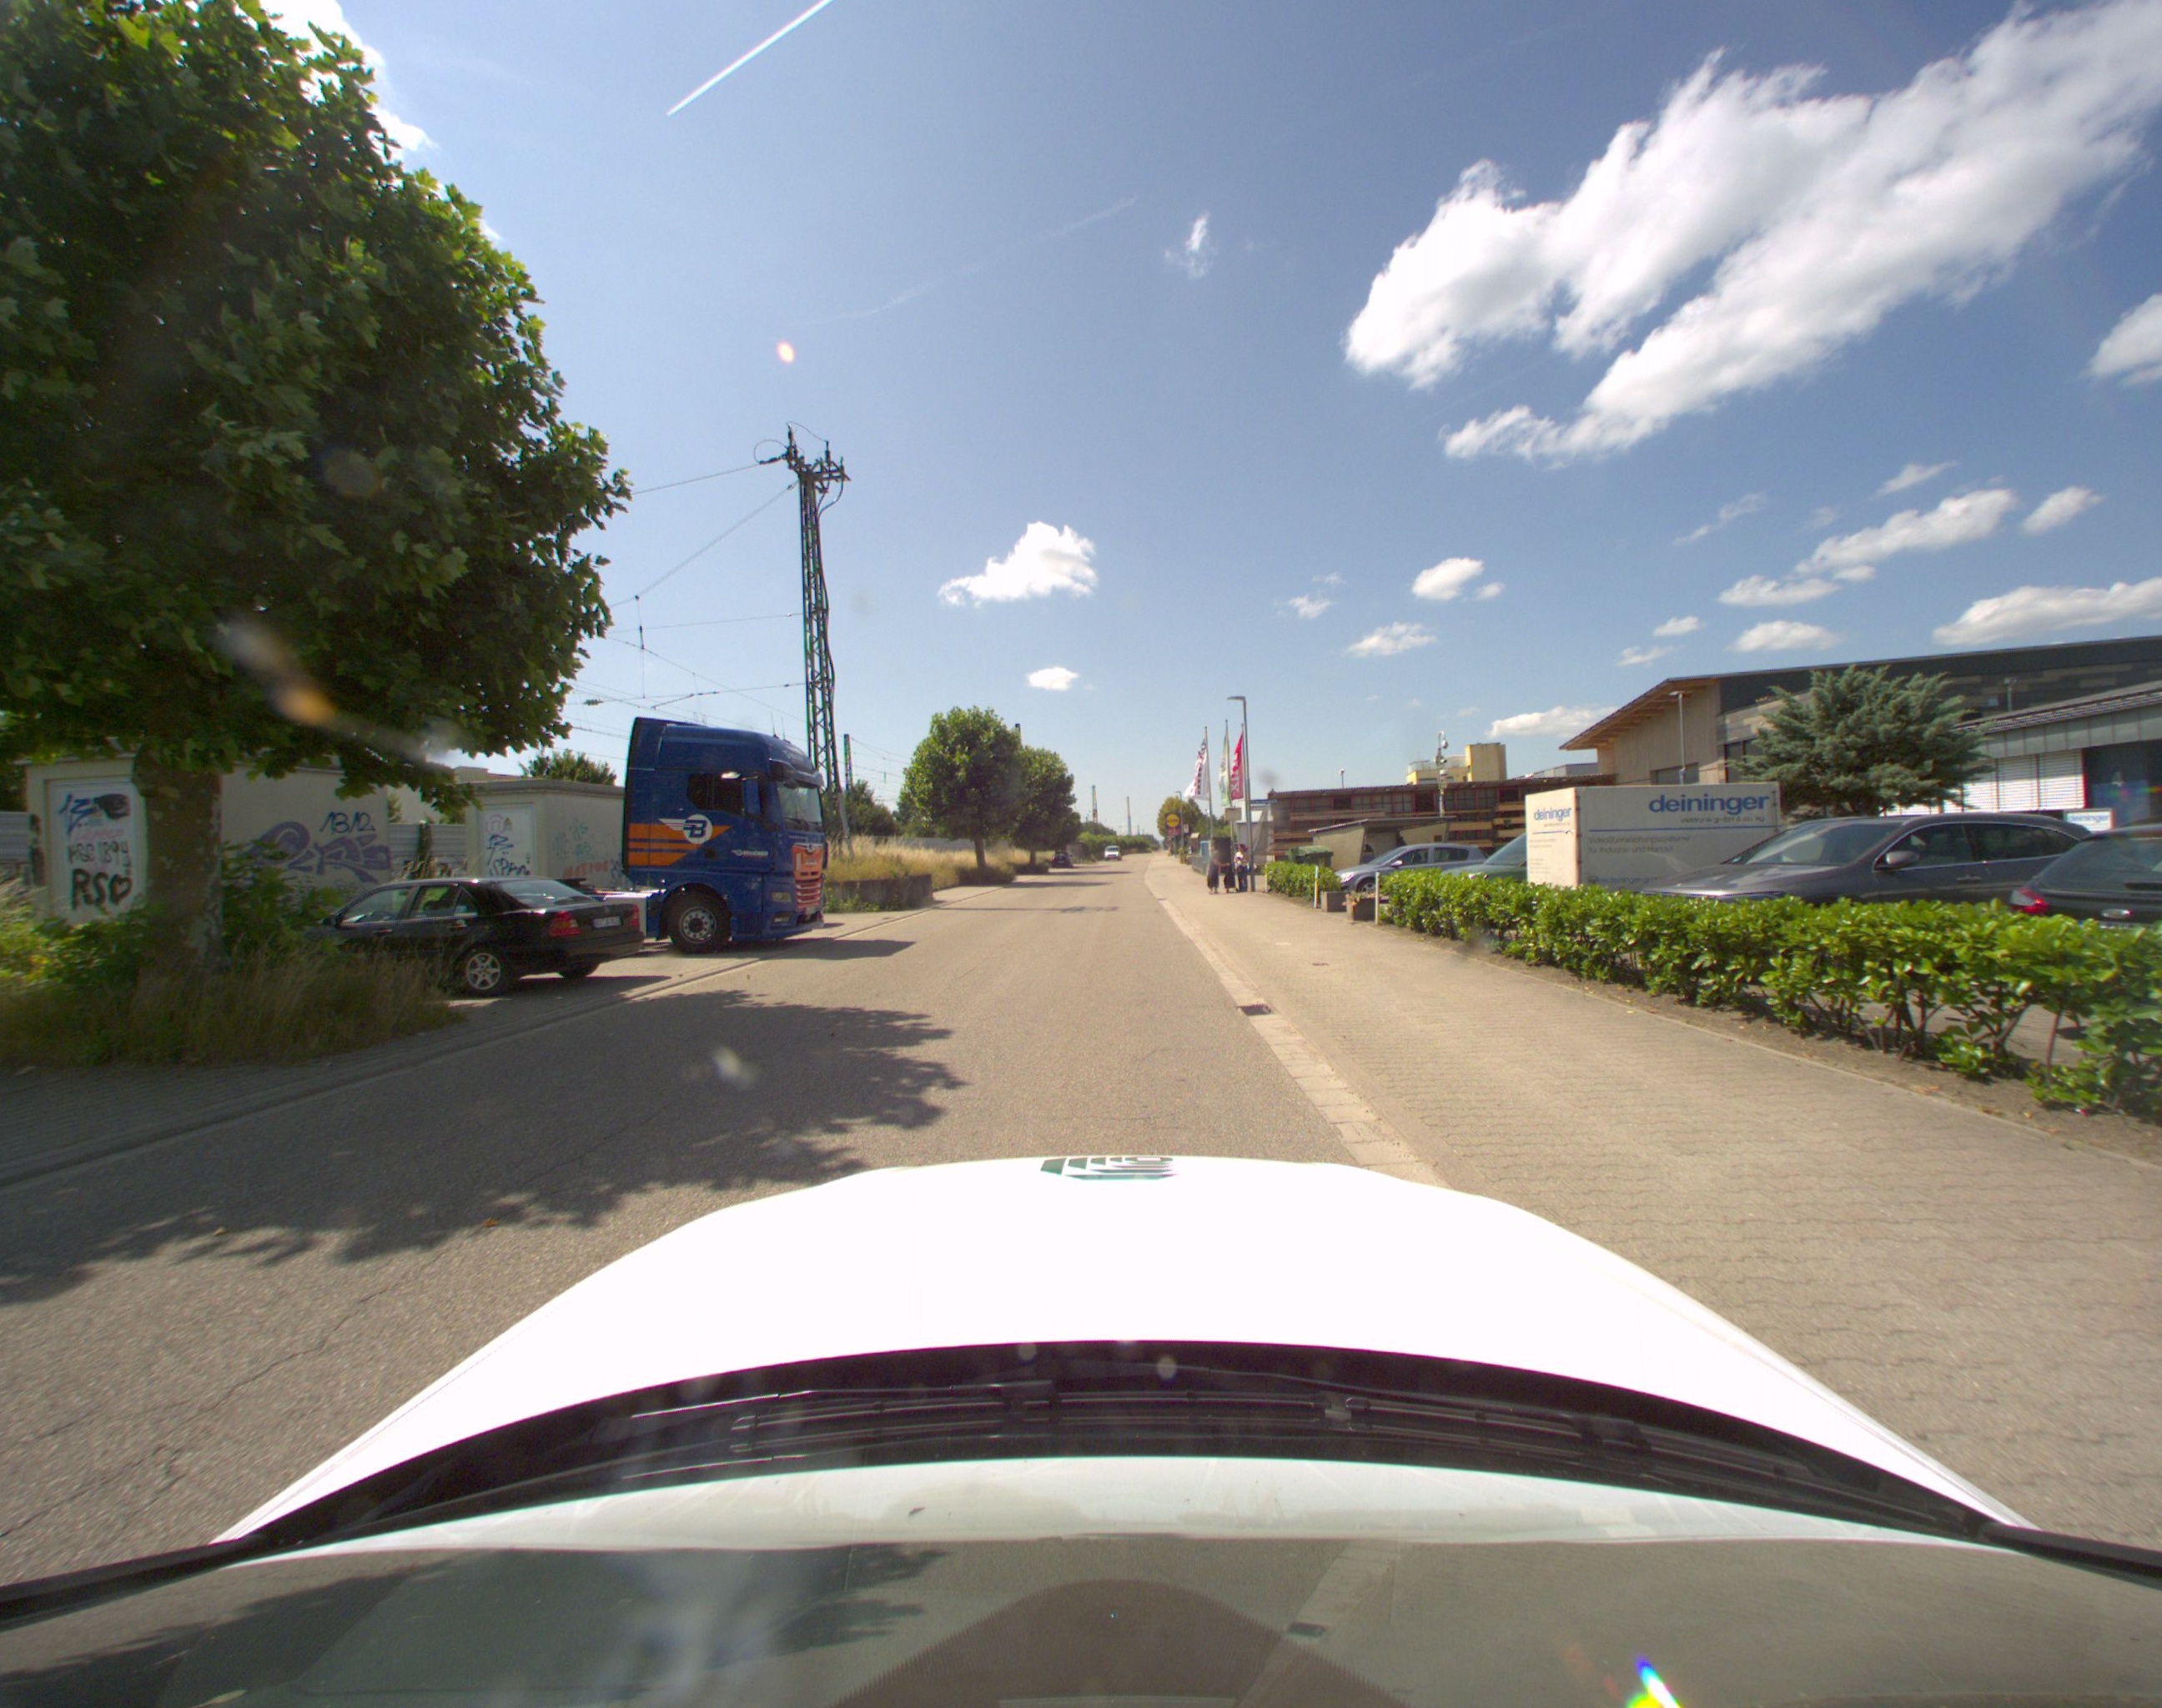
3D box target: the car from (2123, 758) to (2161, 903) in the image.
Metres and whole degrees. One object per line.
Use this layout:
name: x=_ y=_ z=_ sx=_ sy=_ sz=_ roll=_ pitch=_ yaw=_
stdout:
car: x=16.269 y=-0.415 z=9.787 sx=2.085 sy=2.125 sz=4.736 roll=-5 pitch=-1 yaw=15

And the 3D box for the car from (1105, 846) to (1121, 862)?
car: x=4.096 y=-0.011 z=104.754 sx=1.830 sy=1.858 sz=4.489 roll=-2 pitch=0 yaw=4

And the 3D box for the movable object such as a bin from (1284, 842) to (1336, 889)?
movable object such as a bin: x=7.479 y=0.360 z=26.628 sx=1.272 sy=1.458 sz=1.038 roll=-1 pitch=0 yaw=-34

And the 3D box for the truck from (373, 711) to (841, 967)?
truck: x=-8.054 y=-0.231 z=14.463 sx=6.590 sy=3.823 sz=2.665 roll=-3 pitch=0 yaw=1

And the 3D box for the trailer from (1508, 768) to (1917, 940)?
trailer: x=8.389 y=0.007 z=11.178 sx=3.970 sy=2.013 sz=2.002 roll=-2 pitch=0 yaw=3

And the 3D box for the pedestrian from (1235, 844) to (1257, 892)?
pedestrian: x=5.460 y=0.480 z=26.942 sx=0.533 sy=1.540 sz=0.511 roll=-4 pitch=-2 yaw=2

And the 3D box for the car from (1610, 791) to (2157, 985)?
car: x=8.100 y=0.333 z=8.486 sx=4.024 sy=1.574 sz=1.712 roll=-3 pitch=-2 yaw=-3

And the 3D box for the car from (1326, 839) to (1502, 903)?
car: x=8.511 y=0.415 z=21.101 sx=3.828 sy=1.455 sz=1.819 roll=-2 pitch=0 yaw=4

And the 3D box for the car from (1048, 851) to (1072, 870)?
car: x=-1.860 y=0.559 z=73.175 sx=1.734 sy=1.596 sz=3.582 roll=-2 pitch=0 yaw=3

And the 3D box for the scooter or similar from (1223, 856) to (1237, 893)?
scooter or similar: x=4.942 y=0.681 z=27.057 sx=0.332 sy=1.198 sz=0.398 roll=-4 pitch=-2 yaw=4

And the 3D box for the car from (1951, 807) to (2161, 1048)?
car: x=8.667 y=0.353 z=5.123 sx=4.460 sy=1.440 sz=1.814 roll=-2 pitch=0 yaw=-1

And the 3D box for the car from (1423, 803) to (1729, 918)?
car: x=8.522 y=0.131 z=14.325 sx=4.197 sy=1.634 sz=1.801 roll=-4 pitch=-2 yaw=1

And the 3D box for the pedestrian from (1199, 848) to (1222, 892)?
pedestrian: x=4.308 y=0.535 z=27.140 sx=0.591 sy=1.405 sz=0.584 roll=-4 pitch=-2 yaw=2

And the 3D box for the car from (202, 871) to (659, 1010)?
car: x=-7.931 y=1.011 z=10.245 sx=4.193 sy=1.395 sz=1.872 roll=-2 pitch=0 yaw=1
